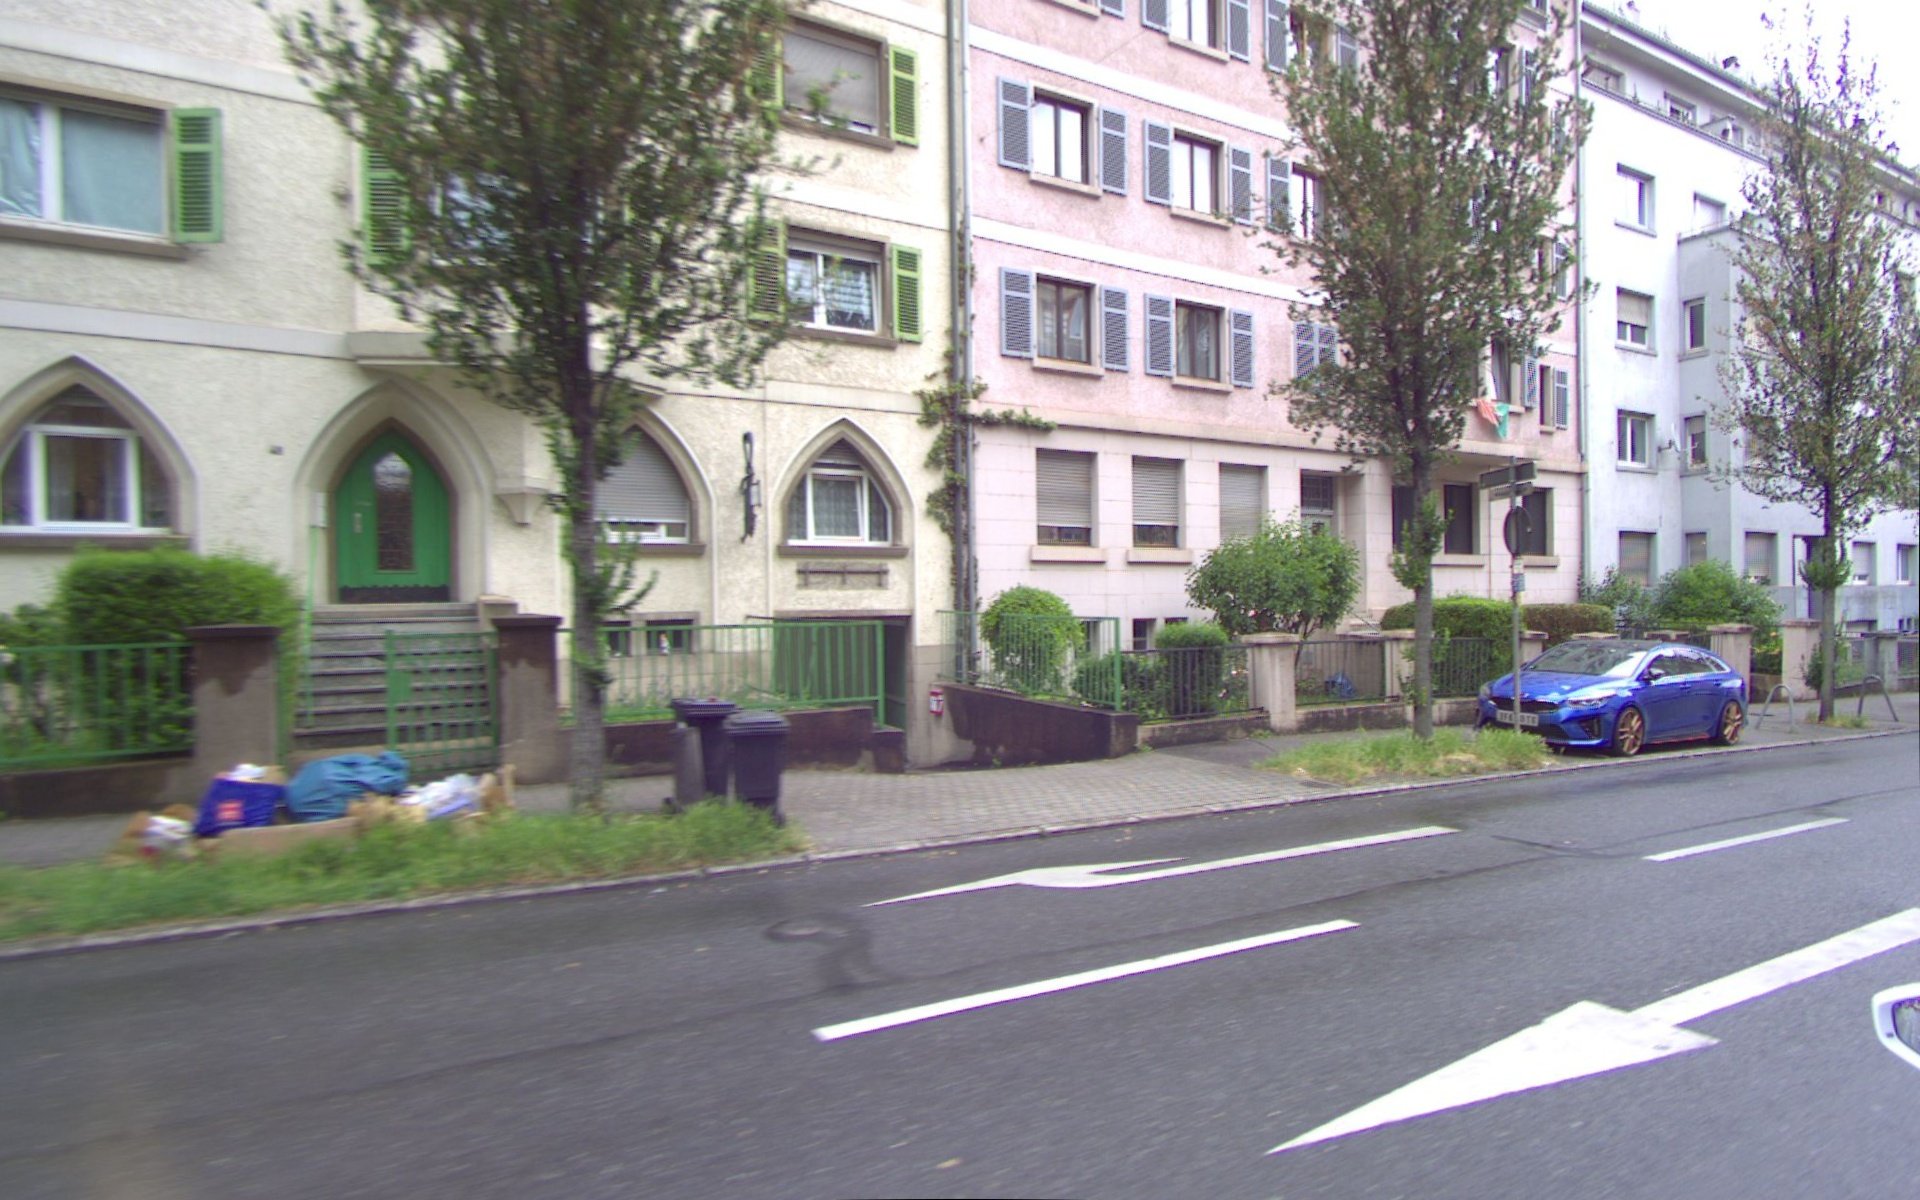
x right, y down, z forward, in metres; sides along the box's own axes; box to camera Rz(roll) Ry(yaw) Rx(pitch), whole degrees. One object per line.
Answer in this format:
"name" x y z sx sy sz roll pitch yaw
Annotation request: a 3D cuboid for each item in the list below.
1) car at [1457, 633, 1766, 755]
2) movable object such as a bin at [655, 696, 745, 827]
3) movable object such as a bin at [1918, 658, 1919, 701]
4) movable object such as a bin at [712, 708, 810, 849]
"car" 8.972 1.216 13.729 4.548 1.404 1.671 2 -1 -30
"movable object such as a bin" -1.989 1.216 7.688 0.566 0.923 0.362 2 1 -30
"movable object such as a bin" 20.562 1.607 20.870 0.477 1.072 0.821 2 1 -28
"movable object such as a bin" -1.413 1.245 7.108 0.566 0.901 0.362 2 1 -30
